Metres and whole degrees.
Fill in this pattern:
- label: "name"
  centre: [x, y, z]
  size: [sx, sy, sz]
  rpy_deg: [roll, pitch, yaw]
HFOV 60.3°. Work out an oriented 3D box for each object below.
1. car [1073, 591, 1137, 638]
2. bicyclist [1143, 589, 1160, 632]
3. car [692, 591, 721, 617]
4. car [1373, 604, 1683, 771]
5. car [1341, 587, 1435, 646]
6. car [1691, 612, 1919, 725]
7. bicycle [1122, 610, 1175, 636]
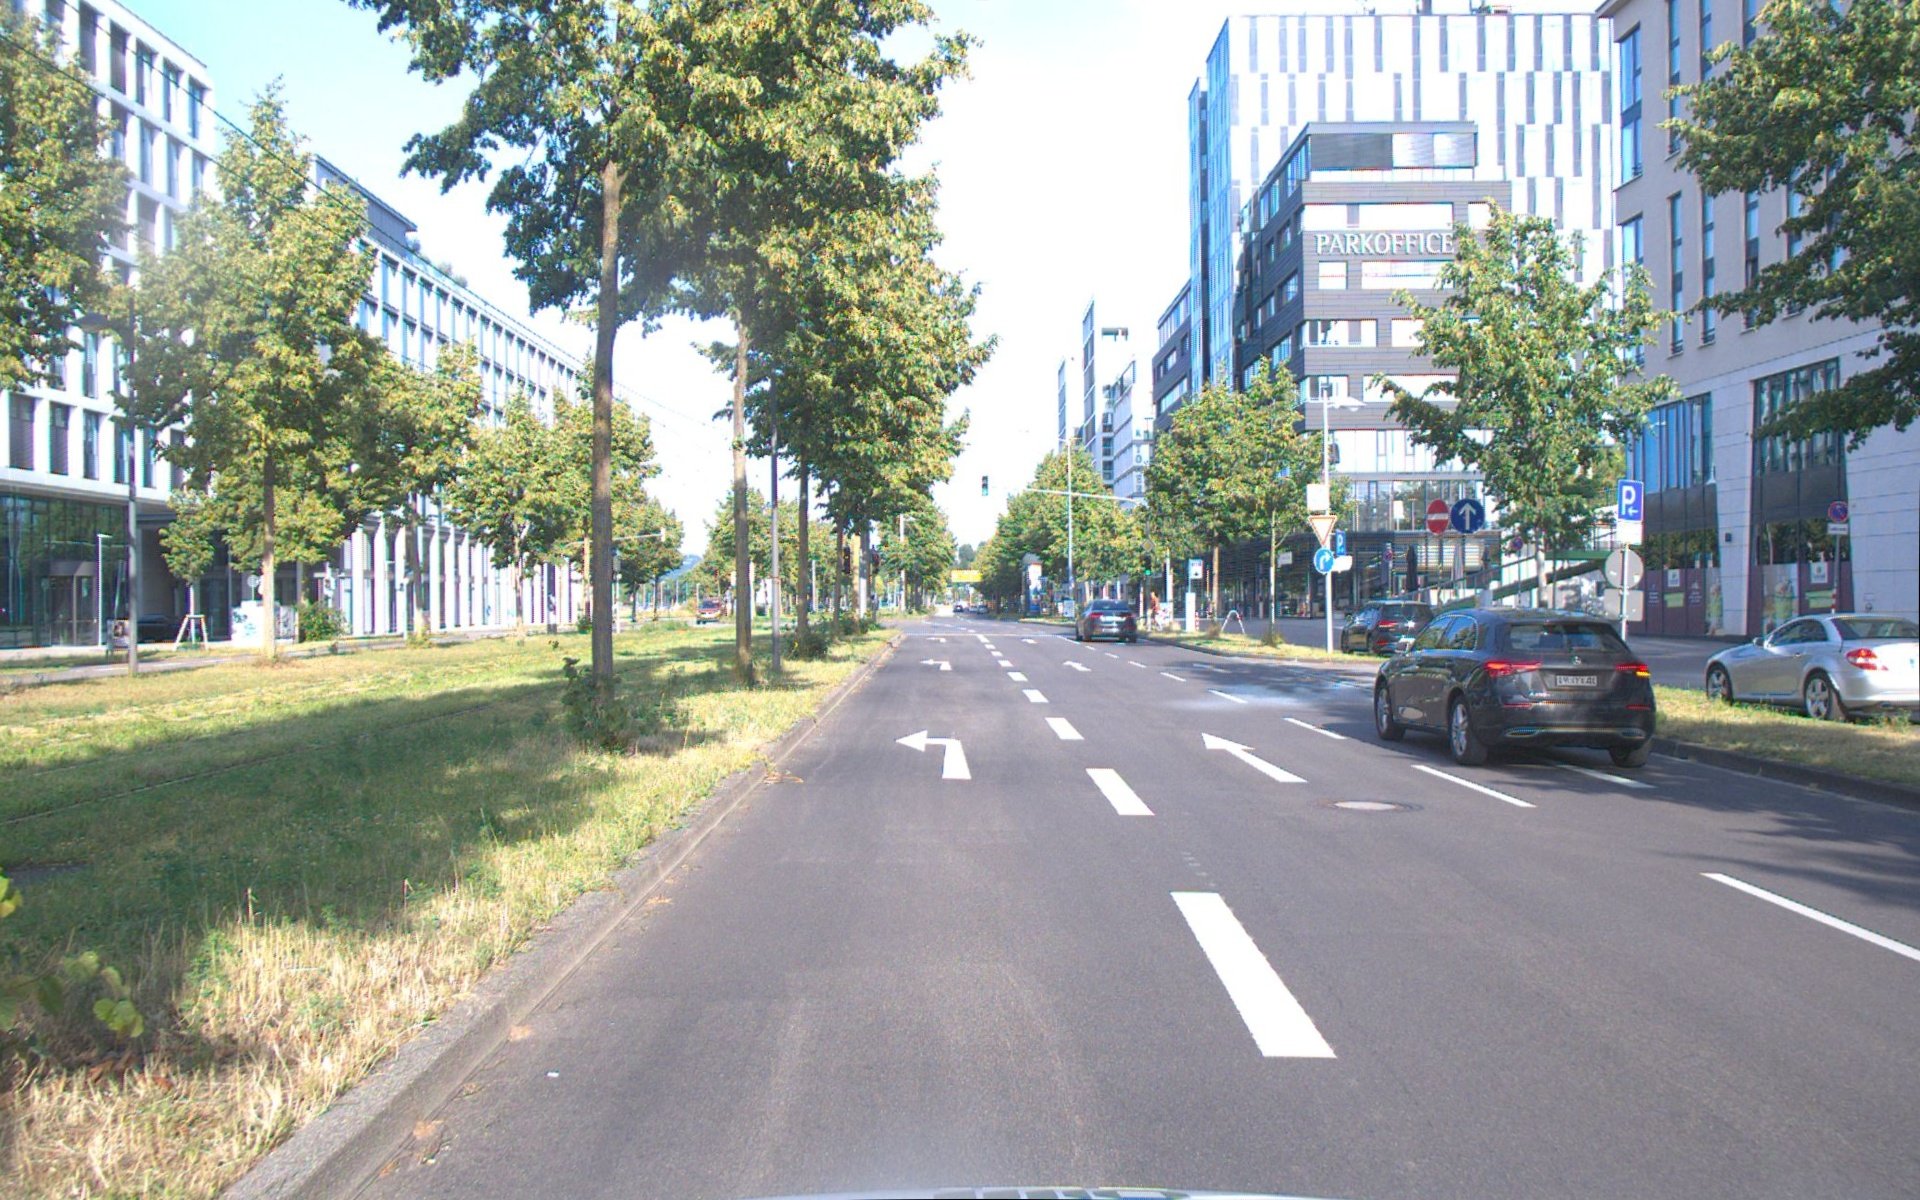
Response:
- label: "car"
  centre: [4.934, 0.504, 56.826]
  size: [1.822, 1.551, 3.785]
  rpy_deg: [1, -1, 0]
- label: "bicyclist"
  centre: [7.922, 0.441, 68.374]
  size: [0.563, 1.737, 0.540]
  rpy_deg: [1, -1, -5]
- label: "car"
  centre: [-17.767, 0.291, 115.861]
  size: [1.651, 1.806, 3.879]
  rpy_deg: [1, -1, -4]
- label: "car"
  centre: [5.519, 0.791, 16.609]
  size: [1.738, 1.449, 3.960]
  rpy_deg: [1, -1, 0]
- label: "car"
  centre: [10.798, 0.424, 41.927]
  size: [1.573, 1.394, 4.159]
  rpy_deg: [1, -1, 4]
- label: "car"
  centre: [10.898, 0.803, 20.715]
  size: [1.673, 1.264, 3.904]
  rpy_deg: [1, -1, -2]
- label: "bicycle"
  centre: [7.794, 0.934, 68.360]
  size: [2.092, 1.030, 0.571]
  rpy_deg: [1, -1, -5]
